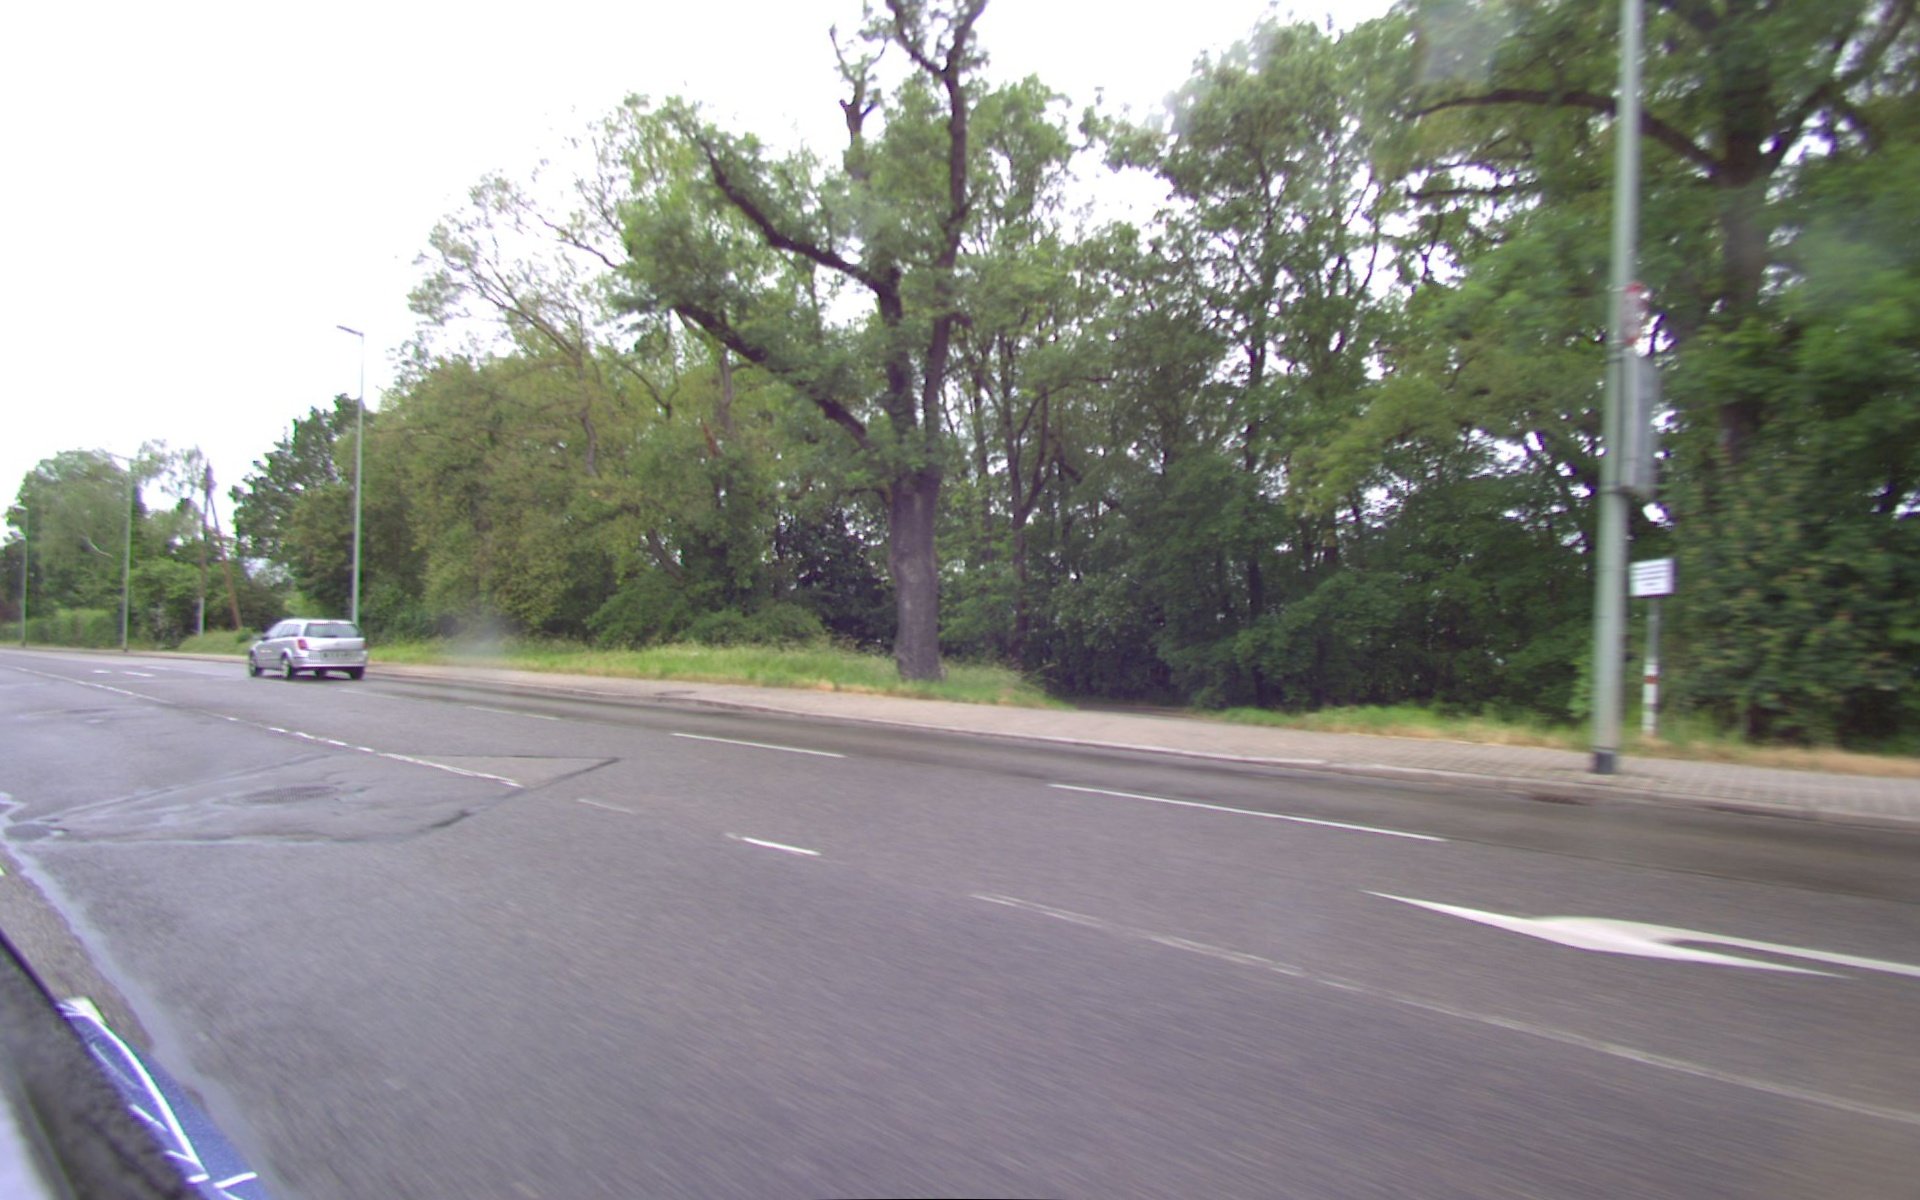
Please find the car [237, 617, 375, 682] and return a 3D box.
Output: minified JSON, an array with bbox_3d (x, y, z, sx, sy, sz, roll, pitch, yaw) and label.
[{"bbox_3d":[-16.605,1.211,25.617,4.449,1.494,1.672,0,-3,40],"label":"car"}]
